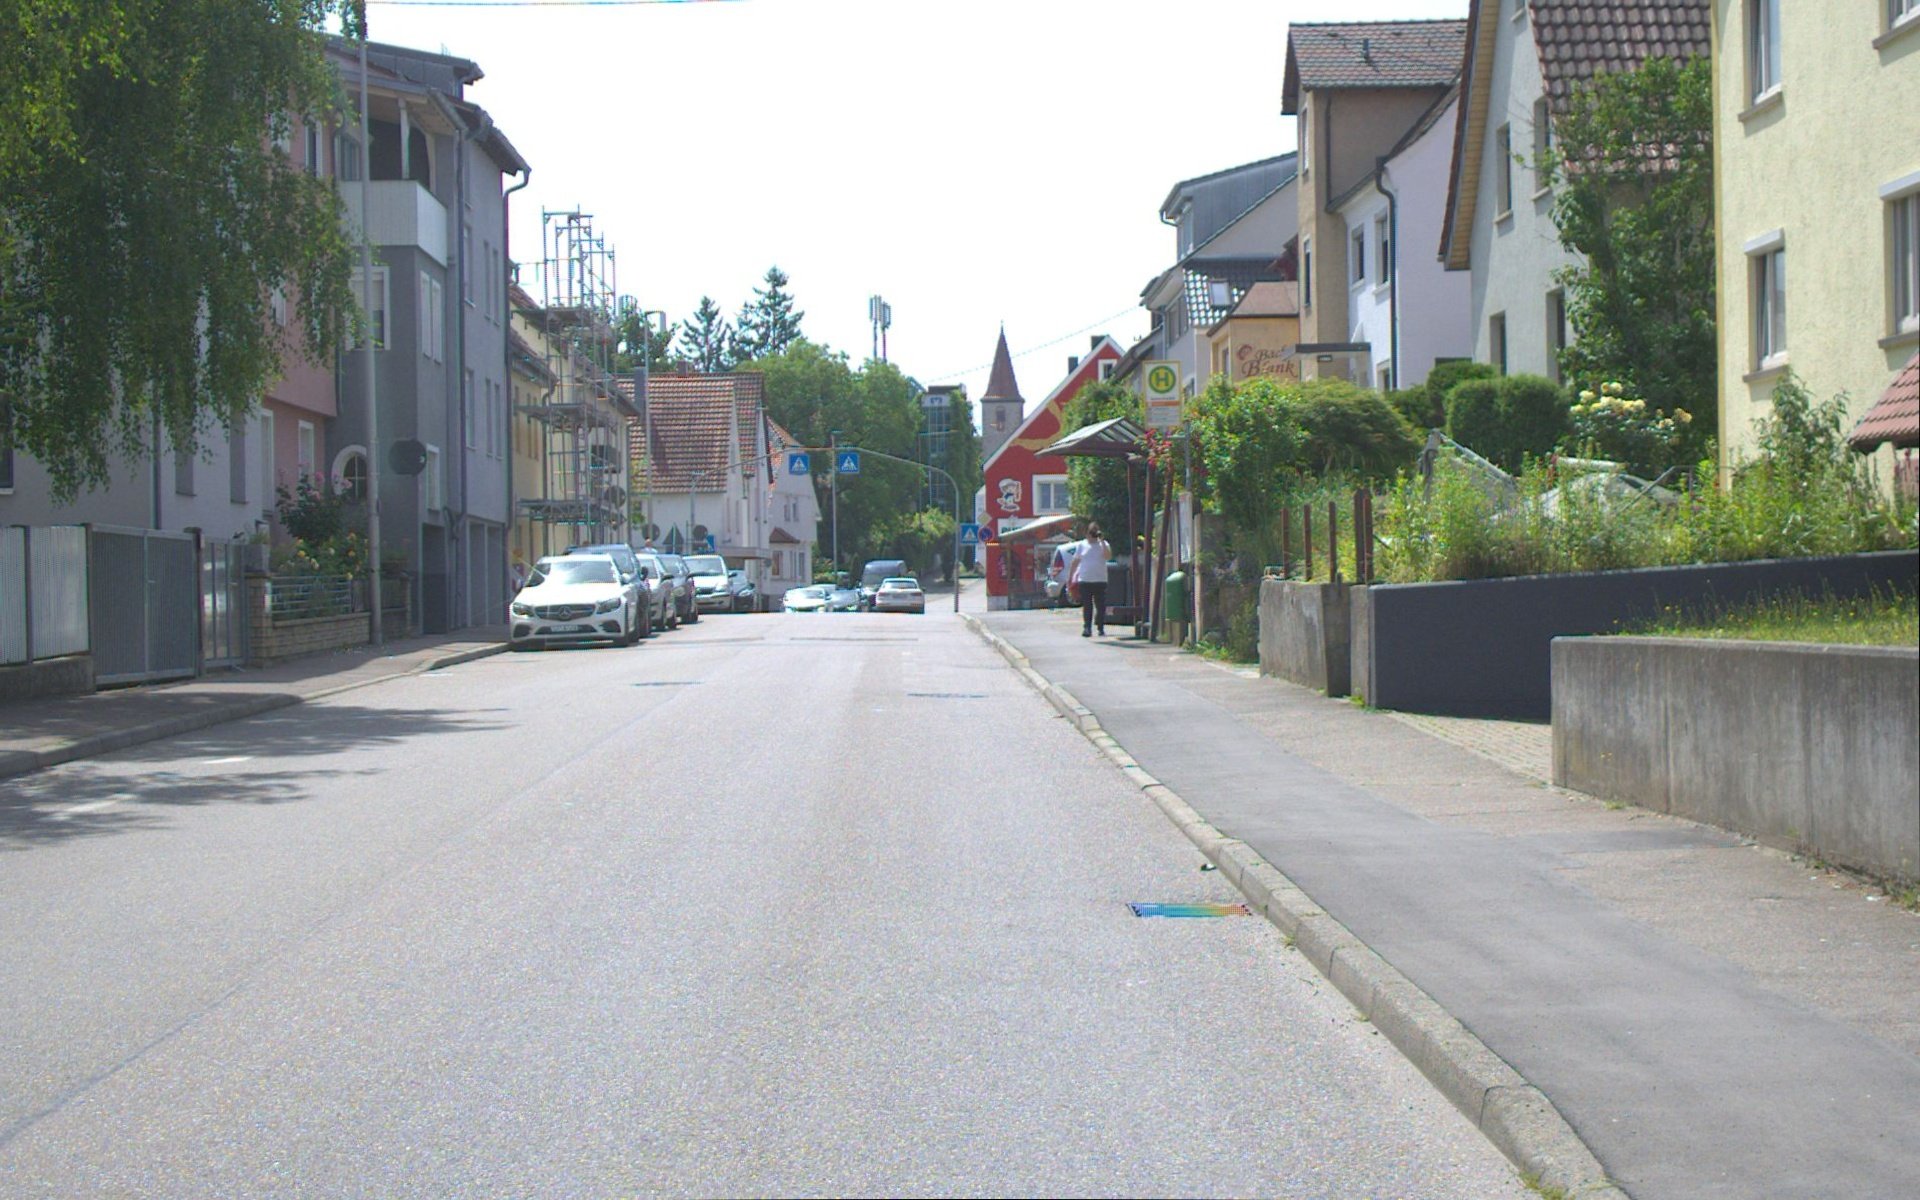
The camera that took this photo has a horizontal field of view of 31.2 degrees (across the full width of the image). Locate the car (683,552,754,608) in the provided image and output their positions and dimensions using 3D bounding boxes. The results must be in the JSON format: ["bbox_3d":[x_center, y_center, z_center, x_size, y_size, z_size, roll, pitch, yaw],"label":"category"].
[{"bbox_3d":[-7.274,-0.624,103.919,1.993,1.555,4.314,-2,1,-2],"label":"car"}]

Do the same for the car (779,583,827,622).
[{"bbox_3d":[-6.404,0.103,139.726,1.840,1.459,4.001,-2,1,-4],"label":"car"}]

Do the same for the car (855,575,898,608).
[{"bbox_3d":[-4.047,-0.427,167.026,1.840,1.459,4.000,-2,1,1],"label":"car"}]

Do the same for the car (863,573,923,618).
[{"bbox_3d":[-2.508,-0.189,128.377,1.993,1.555,4.314,-1,1,-4],"label":"car"}]

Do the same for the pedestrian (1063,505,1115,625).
[{"bbox_3d":[1.896,-0.519,50.558,0.646,1.724,0.608,-3,1,-1],"label":"pedestrian"}]

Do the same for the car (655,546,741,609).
[{"bbox_3d":[-6.854,-0.611,90.438,1.993,1.555,4.314,-2,1,-1],"label":"car"}]

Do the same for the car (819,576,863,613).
[{"bbox_3d":[-5.174,-0.246,149.642,1.840,1.459,4.001,-2,1,-2],"label":"car"}]

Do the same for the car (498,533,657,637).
[{"bbox_3d":[-6.039,-0.266,54.738,2.110,1.555,4.314,-1,1,-1],"label":"car"}]
